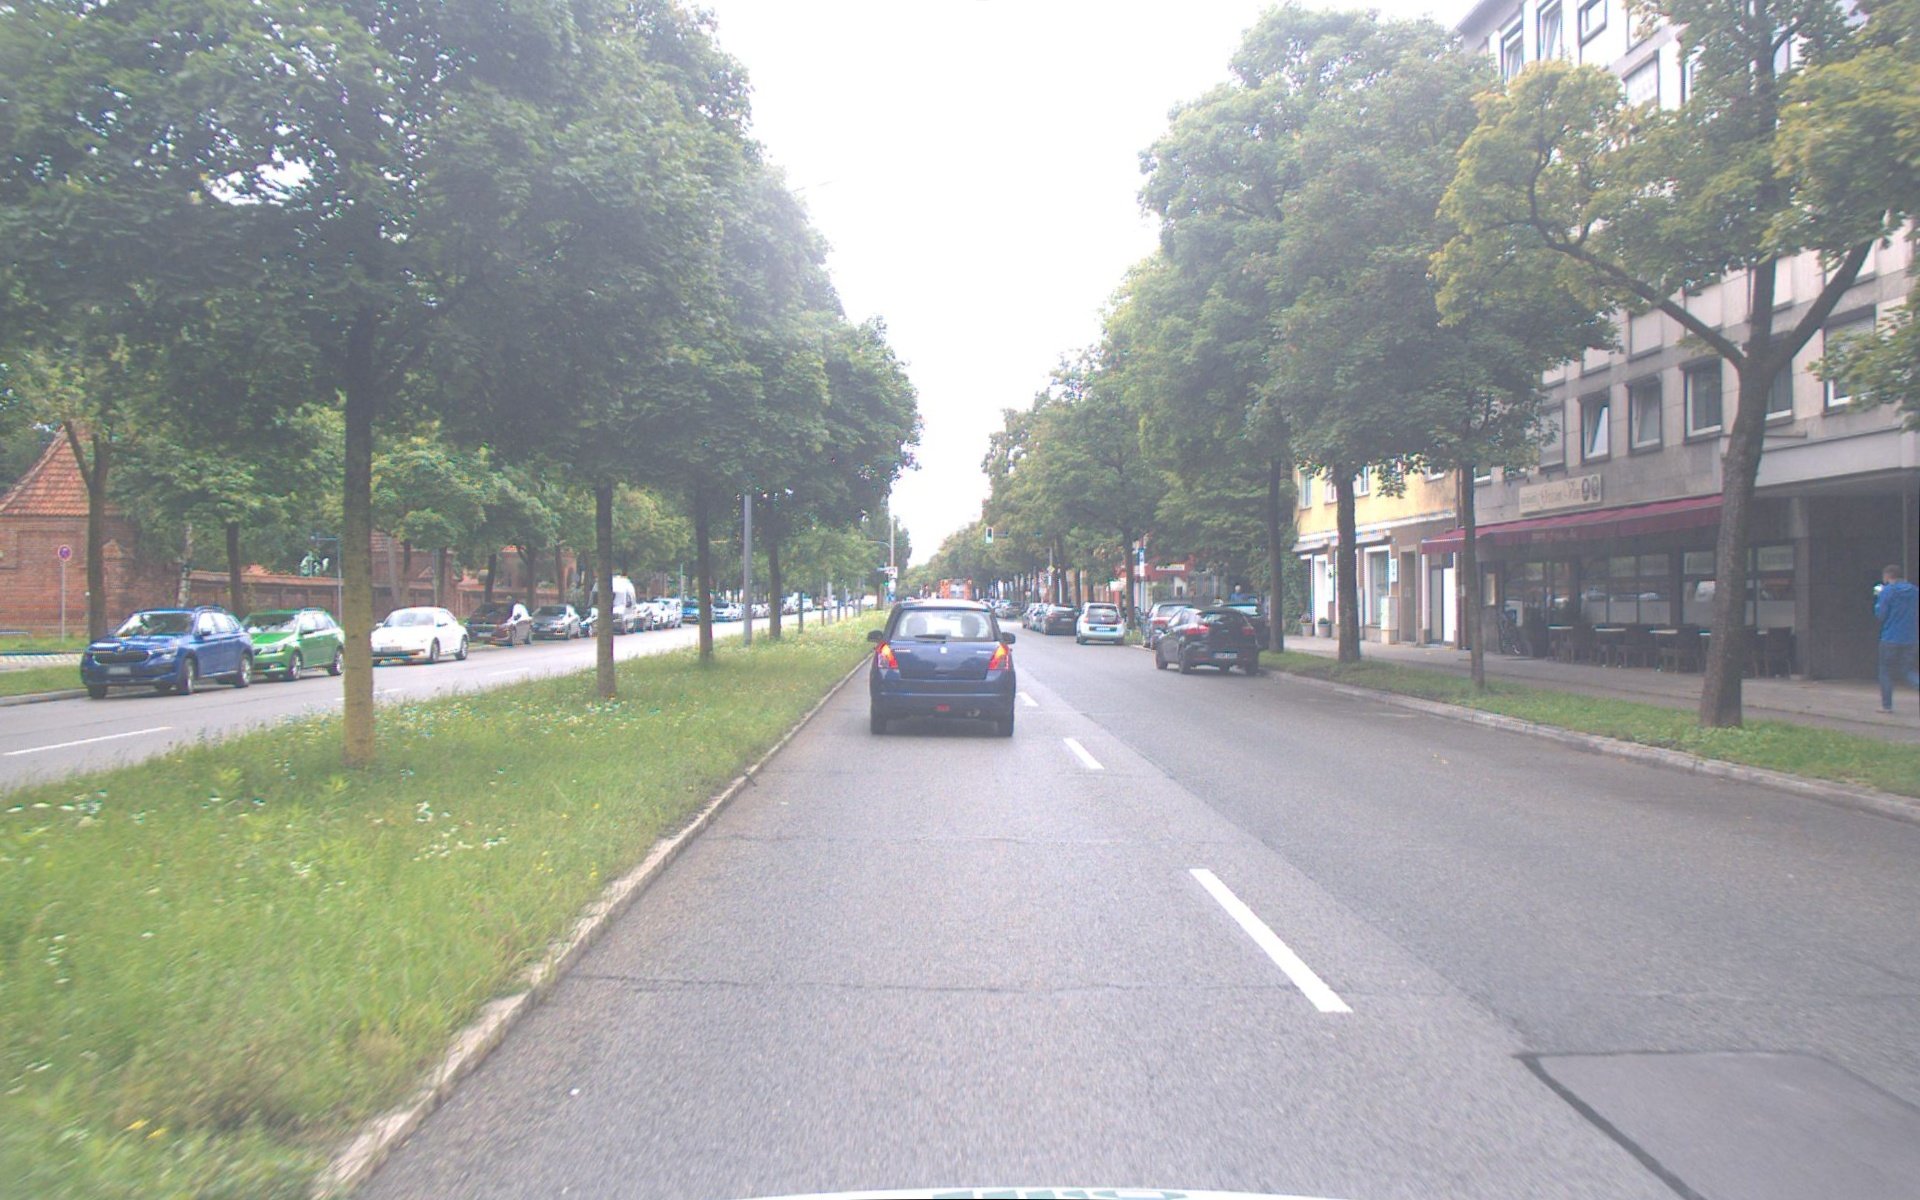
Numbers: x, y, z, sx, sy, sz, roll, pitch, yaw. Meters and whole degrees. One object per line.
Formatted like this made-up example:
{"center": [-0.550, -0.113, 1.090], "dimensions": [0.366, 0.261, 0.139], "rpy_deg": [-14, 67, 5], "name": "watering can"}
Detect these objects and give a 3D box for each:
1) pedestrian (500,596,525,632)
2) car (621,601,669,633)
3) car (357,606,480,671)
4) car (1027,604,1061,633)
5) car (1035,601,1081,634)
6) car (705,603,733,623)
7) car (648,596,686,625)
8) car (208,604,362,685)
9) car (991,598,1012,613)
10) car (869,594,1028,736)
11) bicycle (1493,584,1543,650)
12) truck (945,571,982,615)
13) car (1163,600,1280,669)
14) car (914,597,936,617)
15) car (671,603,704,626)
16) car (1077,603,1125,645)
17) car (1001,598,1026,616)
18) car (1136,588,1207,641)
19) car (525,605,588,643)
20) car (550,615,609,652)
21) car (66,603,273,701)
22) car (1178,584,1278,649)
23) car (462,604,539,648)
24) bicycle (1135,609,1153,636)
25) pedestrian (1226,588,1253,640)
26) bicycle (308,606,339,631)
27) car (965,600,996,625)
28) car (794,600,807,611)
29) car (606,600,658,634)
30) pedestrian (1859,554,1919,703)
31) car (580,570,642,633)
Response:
{"center": [-19.886, 0.620, 73.473], "dimensions": [0.761, 1.594, 0.792], "rpy_deg": [0, 0, 35], "name": "pedestrian"}
{"center": [-18.210, 0.965, 95.824], "dimensions": [2.142, 1.767, 4.574], "rpy_deg": [1, 0, -4], "name": "car"}
{"center": [-14.746, 1.015, 45.291], "dimensions": [1.724, 1.564, 4.316], "rpy_deg": [-2, 0, 3], "name": "car"}
{"center": [4.470, 0.985, 88.663], "dimensions": [1.660, 1.477, 4.123], "rpy_deg": [0, 0, 0], "name": "car"}
{"center": [4.623, 0.790, 78.379], "dimensions": [1.621, 1.477, 4.705], "rpy_deg": [0, 0, -3], "name": "car"}
{"center": [-19.267, 1.032, 132.329], "dimensions": [1.765, 1.561, 3.999], "rpy_deg": [0, 0, -1], "name": "car"}
{"center": [-17.995, 0.646, 101.665], "dimensions": [1.672, 1.764, 3.999], "rpy_deg": [0, 0, -1], "name": "car"}
{"center": [-14.539, 0.911, 35.854], "dimensions": [1.605, 1.564, 4.313], "rpy_deg": [-2, 0, -1], "name": "car"}
{"center": [4.336, 0.574, 173.597], "dimensions": [1.953, 1.557, 3.999], "rpy_deg": [0, 0, -1], "name": "car"}
{"center": [-0.137, 0.704, 19.948], "dimensions": [1.717, 1.531, 3.999], "rpy_deg": [0, 0, -1], "name": "car"}
{"center": [12.926, 0.378, 38.341], "dimensions": [0.568, 1.489, 1.688], "rpy_deg": [0, 0, -1], "name": "bicycle"}
{"center": [0.197, -0.588, 141.906], "dimensions": [2.979, 3.619, 13.672], "rpy_deg": [1, 0, 0], "name": "truck"}
{"center": [5.818, 0.734, 37.270], "dimensions": [1.953, 1.477, 3.999], "rpy_deg": [0, 0, -1], "name": "car"}
{"center": [-2.739, 0.567, 130.510], "dimensions": [1.684, 1.527, 4.299], "rpy_deg": [1, 0, -2], "name": "car"}
{"center": [-18.987, 0.987, 115.385], "dimensions": [1.672, 1.561, 3.999], "rpy_deg": [0, 0, -1], "name": "car"}
{"center": [5.303, 0.863, 61.886], "dimensions": [1.618, 1.477, 4.003], "rpy_deg": [-1, 0, 8], "name": "car"}
{"center": [4.688, 0.638, 144.525], "dimensions": [1.953, 1.557, 3.999], "rpy_deg": [0, 0, -1], "name": "car"}
{"center": [7.077, 0.464, 55.636], "dimensions": [1.778, 1.654, 4.307], "rpy_deg": [-1, 0, 0], "name": "car"}
{"center": [-17.302, 1.001, 71.117], "dimensions": [1.777, 1.563, 4.439], "rpy_deg": [1, 0, -2], "name": "car"}
{"center": [-17.617, 1.535, 76.801], "dimensions": [1.777, 1.563, 4.817], "rpy_deg": [1, 0, -2], "name": "car"}
{"center": [-14.369, 0.887, 30.363], "dimensions": [1.849, 1.564, 4.312], "rpy_deg": [-2, 0, -3], "name": "car"}
{"center": [7.221, 0.429, 44.910], "dimensions": [1.953, 1.671, 4.332], "rpy_deg": [0, 0, -1], "name": "car"}
{"center": [-17.056, 0.943, 61.564], "dimensions": [1.777, 1.563, 4.296], "rpy_deg": [1, 0, -2], "name": "car"}
{"center": [6.943, 0.832, 62.334], "dimensions": [0.439, 0.997, 1.798], "rpy_deg": [0, 0, -2], "name": "bicycle"}
{"center": [10.380, 0.503, 61.436], "dimensions": [0.776, 1.888, 0.776], "rpy_deg": [-2, 0, -4], "name": "pedestrian"}
{"center": [-24.186, 0.692, 62.873], "dimensions": [0.642, 0.953, 1.618], "rpy_deg": [0, 0, -4], "name": "bicycle"}
{"center": [1.290, 0.772, 105.980], "dimensions": [1.785, 1.503, 4.689], "rpy_deg": [2, 0, -2], "name": "car"}
{"center": [-24.614, 0.829, 255.758], "dimensions": [1.765, 1.561, 3.999], "rpy_deg": [0, 0, -1], "name": "car"}
{"center": [-17.916, 0.901, 90.519], "dimensions": [2.142, 1.767, 4.574], "rpy_deg": [1, 0, -4], "name": "car"}
{"center": [11.264, 0.338, 19.909], "dimensions": [0.489, 1.763, 0.732], "rpy_deg": [0, 0, -1], "name": "pedestrian"}
{"center": [-17.643, 0.071, 83.860], "dimensions": [2.142, 3.005, 6.187], "rpy_deg": [1, 0, -4], "name": "car"}
